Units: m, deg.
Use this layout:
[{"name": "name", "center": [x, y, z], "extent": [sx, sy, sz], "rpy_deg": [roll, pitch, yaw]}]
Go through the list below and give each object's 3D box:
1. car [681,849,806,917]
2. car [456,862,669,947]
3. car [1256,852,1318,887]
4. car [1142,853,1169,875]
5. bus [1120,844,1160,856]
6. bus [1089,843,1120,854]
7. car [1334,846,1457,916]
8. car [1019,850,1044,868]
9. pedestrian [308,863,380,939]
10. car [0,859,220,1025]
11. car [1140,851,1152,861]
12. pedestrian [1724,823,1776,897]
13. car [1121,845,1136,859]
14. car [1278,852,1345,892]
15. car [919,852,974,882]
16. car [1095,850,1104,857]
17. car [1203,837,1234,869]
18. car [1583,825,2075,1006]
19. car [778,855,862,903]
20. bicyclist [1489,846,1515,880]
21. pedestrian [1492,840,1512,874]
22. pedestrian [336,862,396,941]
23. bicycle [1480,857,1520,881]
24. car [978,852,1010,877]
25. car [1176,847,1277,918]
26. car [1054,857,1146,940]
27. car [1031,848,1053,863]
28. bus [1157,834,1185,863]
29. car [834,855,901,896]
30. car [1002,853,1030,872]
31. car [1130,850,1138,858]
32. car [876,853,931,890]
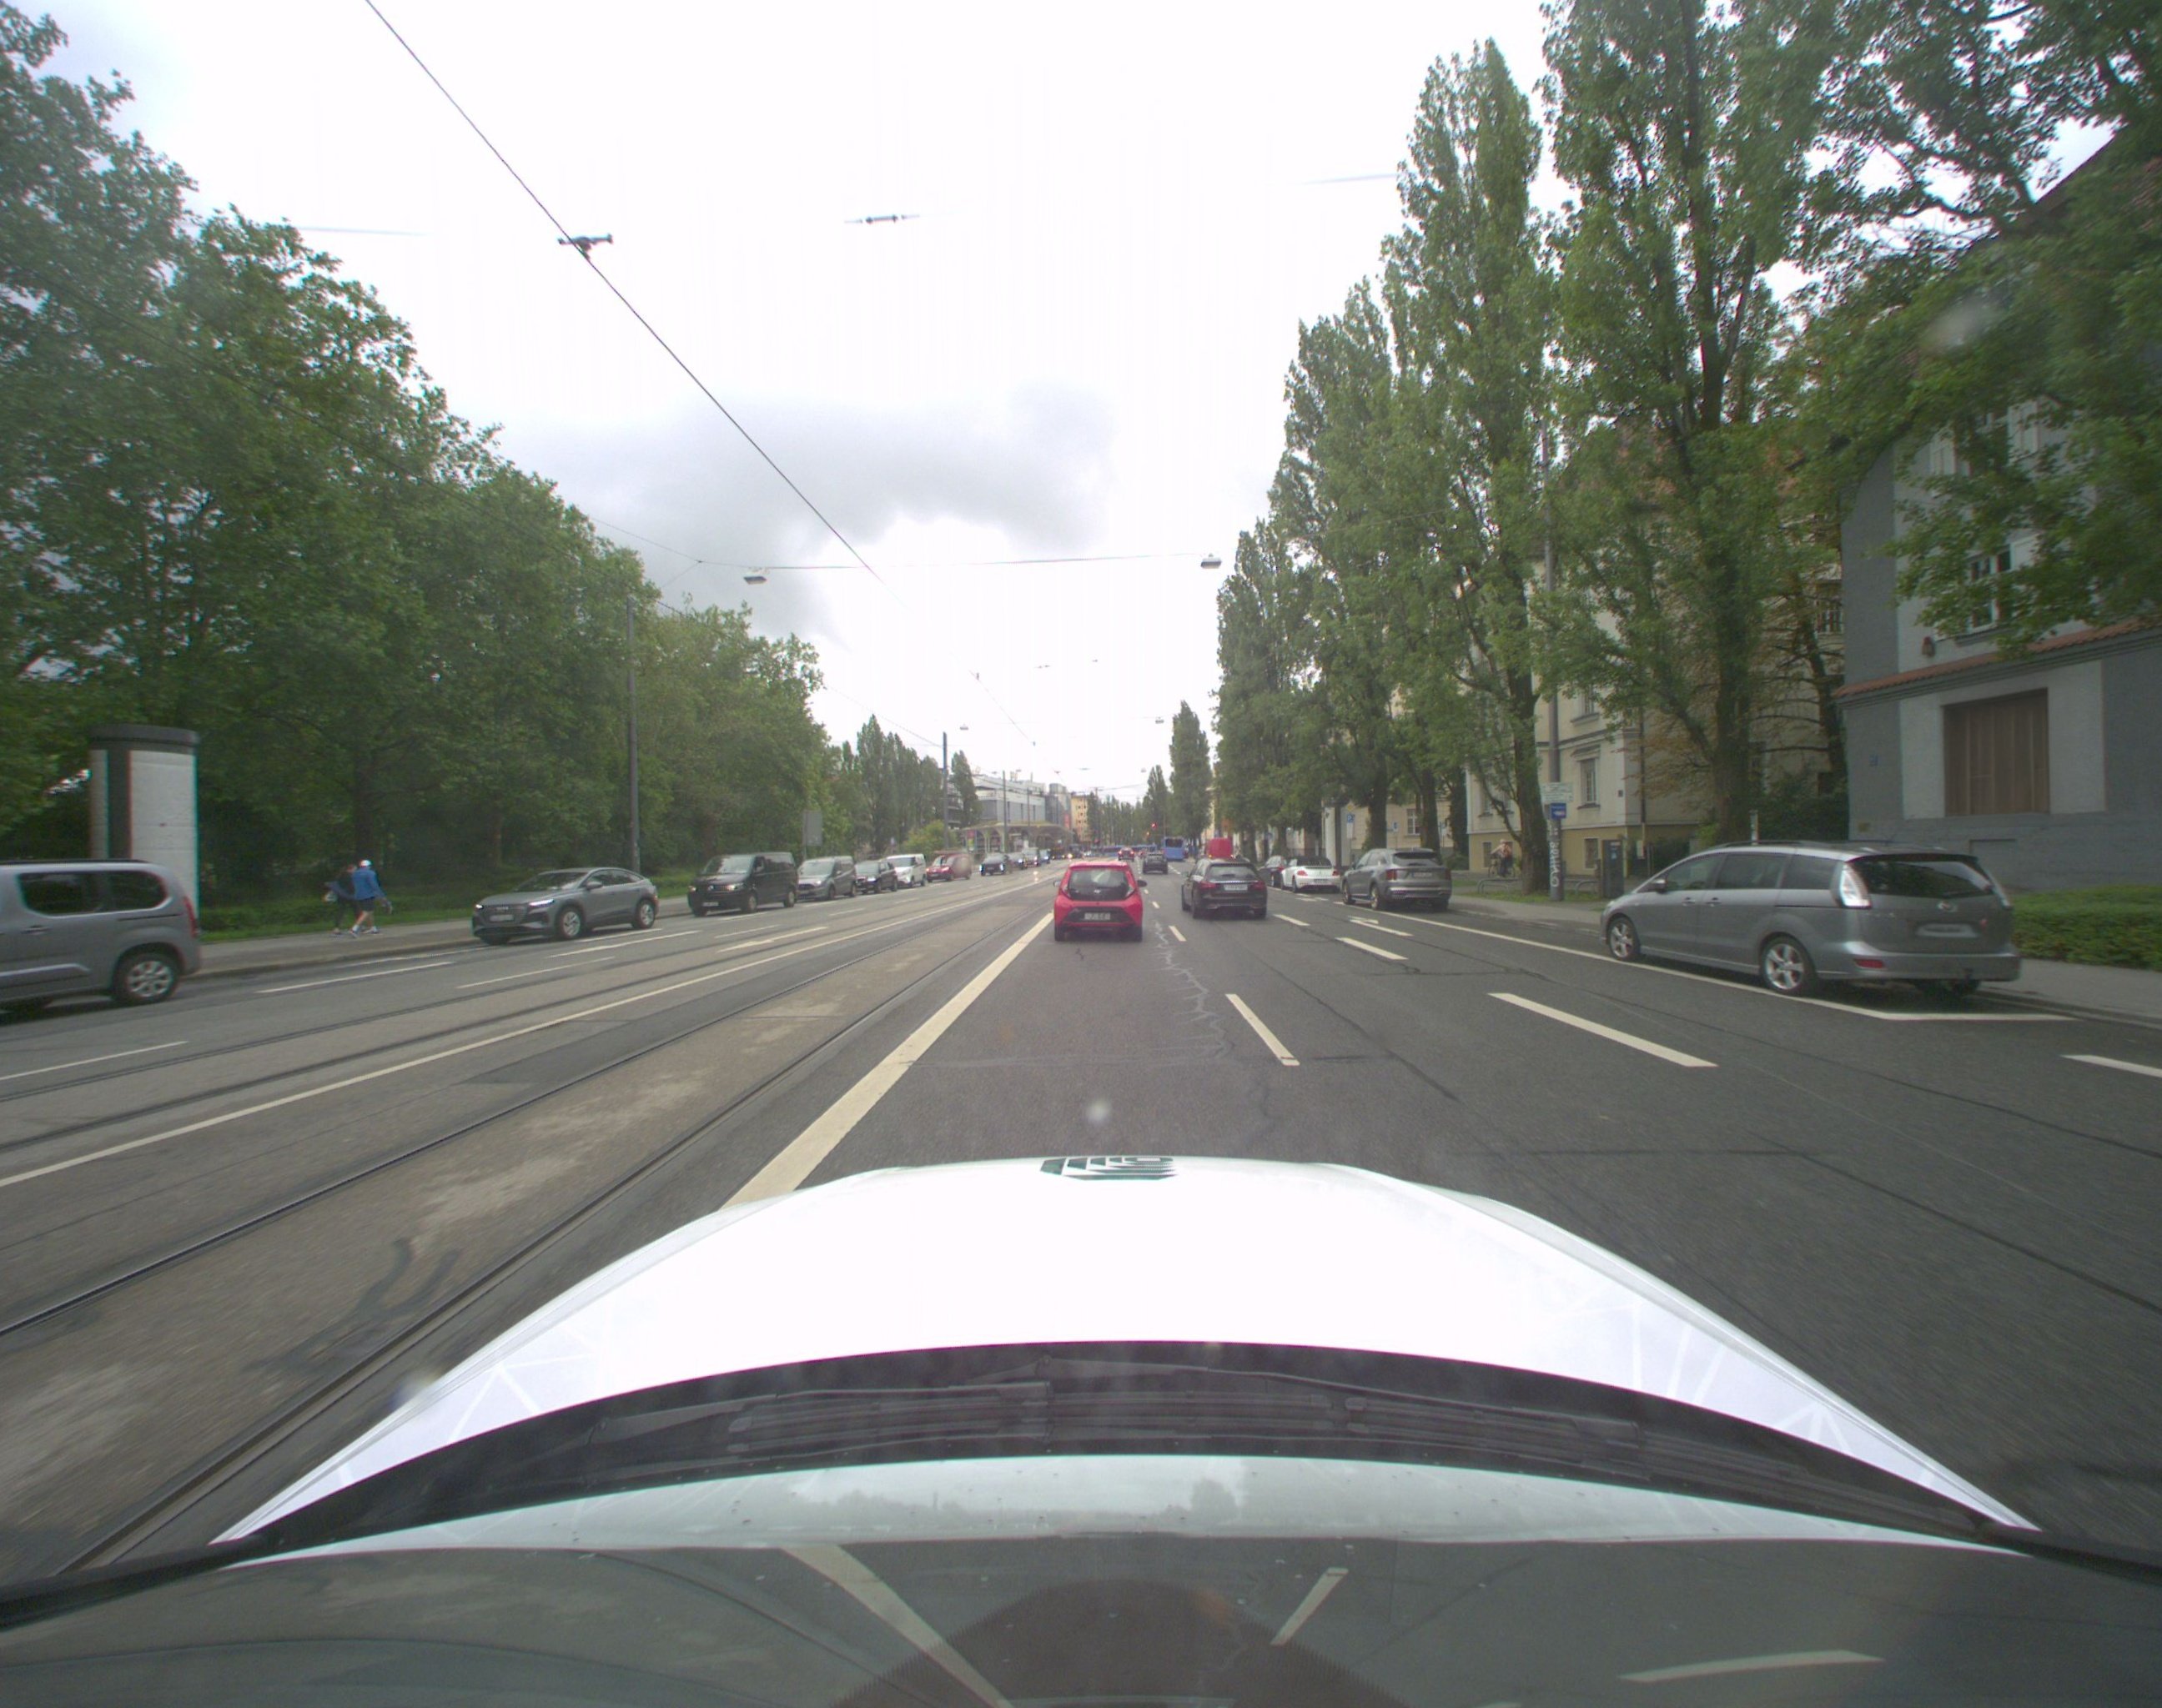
[{"name": "car", "center": [-11.085, 0.884, 27.194], "extent": [1.792, 1.991, 5.043], "rpy_deg": [-2, 0, 3]}, {"name": "car", "center": [-11.797, 1.063, 18.977], "extent": [1.792, 1.634, 4.592], "rpy_deg": [-2, 0, 3]}, {"name": "car", "center": [9.606, 0.697, 38.301], "extent": [1.794, 1.508, 4.449], "rpy_deg": [-1, 0, 0]}, {"name": "car", "center": [5.383, 0.691, 59.481], "extent": [1.773, 1.486, 4.003], "rpy_deg": [-1, 0, 3]}, {"name": "bus", "center": [15.910, -1.113, 219.901], "extent": [10.524, 2.846, 2.000], "rpy_deg": [-1, 1, -1]}, {"name": "bus", "center": [6.349, -1.560, 219.871], "extent": [8.437, 2.846, 2.001], "rpy_deg": [-1, 1, 0]}, {"name": "car", "center": [8.803, 0.689, 23.268], "extent": [1.792, 1.742, 4.702], "rpy_deg": [-2, 0, 2]}, {"name": "car", "center": [-4.922, 0.532, 81.607], "extent": [1.791, 1.665, 4.523], "rpy_deg": [-3, 0, 4]}, {"name": "pedestrian", "center": [-17.271, 1.086, 19.108], "extent": [0.660, 1.684, 0.991], "rpy_deg": [-1, 1, 11]}, {"name": "car", "center": [-12.599, 0.990, 8.728], "extent": [1.792, 1.779, 4.476], "rpy_deg": [-2, 0, 3]}, {"name": "car", "center": [10.048, 0.301, 126.368], "extent": [1.773, 1.486, 4.003], "rpy_deg": [-1, 0, 3]}, {"name": "pedestrian", "center": [15.987, 0.130, 19.477], "extent": [0.589, 1.738, 0.825], "rpy_deg": [-1, 1, 3]}, {"name": "car", "center": [5.633, -0.223, 96.972], "extent": [1.729, 1.549, 4.579], "rpy_deg": [-2, 0, 3]}, {"name": "car", "center": [9.358, 0.689, 33.392], "extent": [1.792, 1.508, 4.003], "rpy_deg": [-1, 0, 3]}, {"name": "car", "center": [-8.957, 0.847, 54.776], "extent": [1.786, 1.788, 4.538], "rpy_deg": [-3, 0, 16]}, {"name": "car", "center": [3.707, -0.120, 163.153], "extent": [1.773, 1.486, 4.003], "rpy_deg": [-1, 0, 3]}, {"name": "car", "center": [11.457, -0.139, 68.181], "extent": [1.985, 2.574, 4.684], "rpy_deg": [-1, 2, 3]}, {"name": "car", "center": [8.290, 0.571, 9.775], "extent": [1.792, 1.612, 4.549], "rpy_deg": [-2, 0, 2]}, {"name": "car", "center": [-10.840, 0.971, 34.170], "extent": [1.792, 1.788, 4.522], "rpy_deg": [-3, 0, 3]}, {"name": "bicyclist", "center": [17.013, 0.358, 32.885], "extent": [0.658, 1.314, 0.706], "rpy_deg": [-2, 0, 1]}, {"name": "pedestrian", "center": [19.468, 0.116, 37.633], "extent": [0.550, 1.547, 0.739], "rpy_deg": [-1, 1, 1]}, {"name": "pedestrian", "center": [-16.619, 1.095, 18.946], "extent": [0.660, 1.790, 0.821], "rpy_deg": [-1, -1, 11]}, {"name": "bicycle", "center": [17.024, 0.615, 33.152], "extent": [0.650, 0.923, 1.903], "rpy_deg": [-2, 0, 1]}, {"name": "car", "center": [-6.709, 0.766, 63.483], "extent": [1.793, 1.788, 4.520], "rpy_deg": [-3, 0, 1]}, {"name": "car", "center": [3.609, 0.635, 21.073], "extent": [1.857, 1.549, 4.705], "rpy_deg": [-2, 1, 1]}, {"name": "car", "center": [0.349, 0.791, 16.057], "extent": [1.623, 1.440, 3.376], "rpy_deg": [0, 0, 0]}, {"name": "car", "center": [-4.452, 0.159, 93.110], "extent": [1.790, 1.665, 4.526], "rpy_deg": [-3, 0, 5]}, {"name": "bus", "center": [11.589, -0.787, 105.489], "extent": [2.894, 3.395, 10.815], "rpy_deg": [-1, 2, 3]}, {"name": "car", "center": [-10.359, 0.998, 39.933], "extent": [1.792, 1.788, 4.522], "rpy_deg": [-3, 0, 3]}, {"name": "car", "center": [-5.862, 0.751, 74.081], "extent": [1.791, 1.530, 4.523], "rpy_deg": [-3, 0, 4]}, {"name": "car", "center": [12.839, -0.003, 197.367], "extent": [1.795, 1.596, 4.006], "rpy_deg": [-1, -3, 7]}, {"name": "car", "center": [-10.032, 0.944, 46.312], "extent": [1.792, 1.861, 4.633], "rpy_deg": [-3, 0, 2]}]
